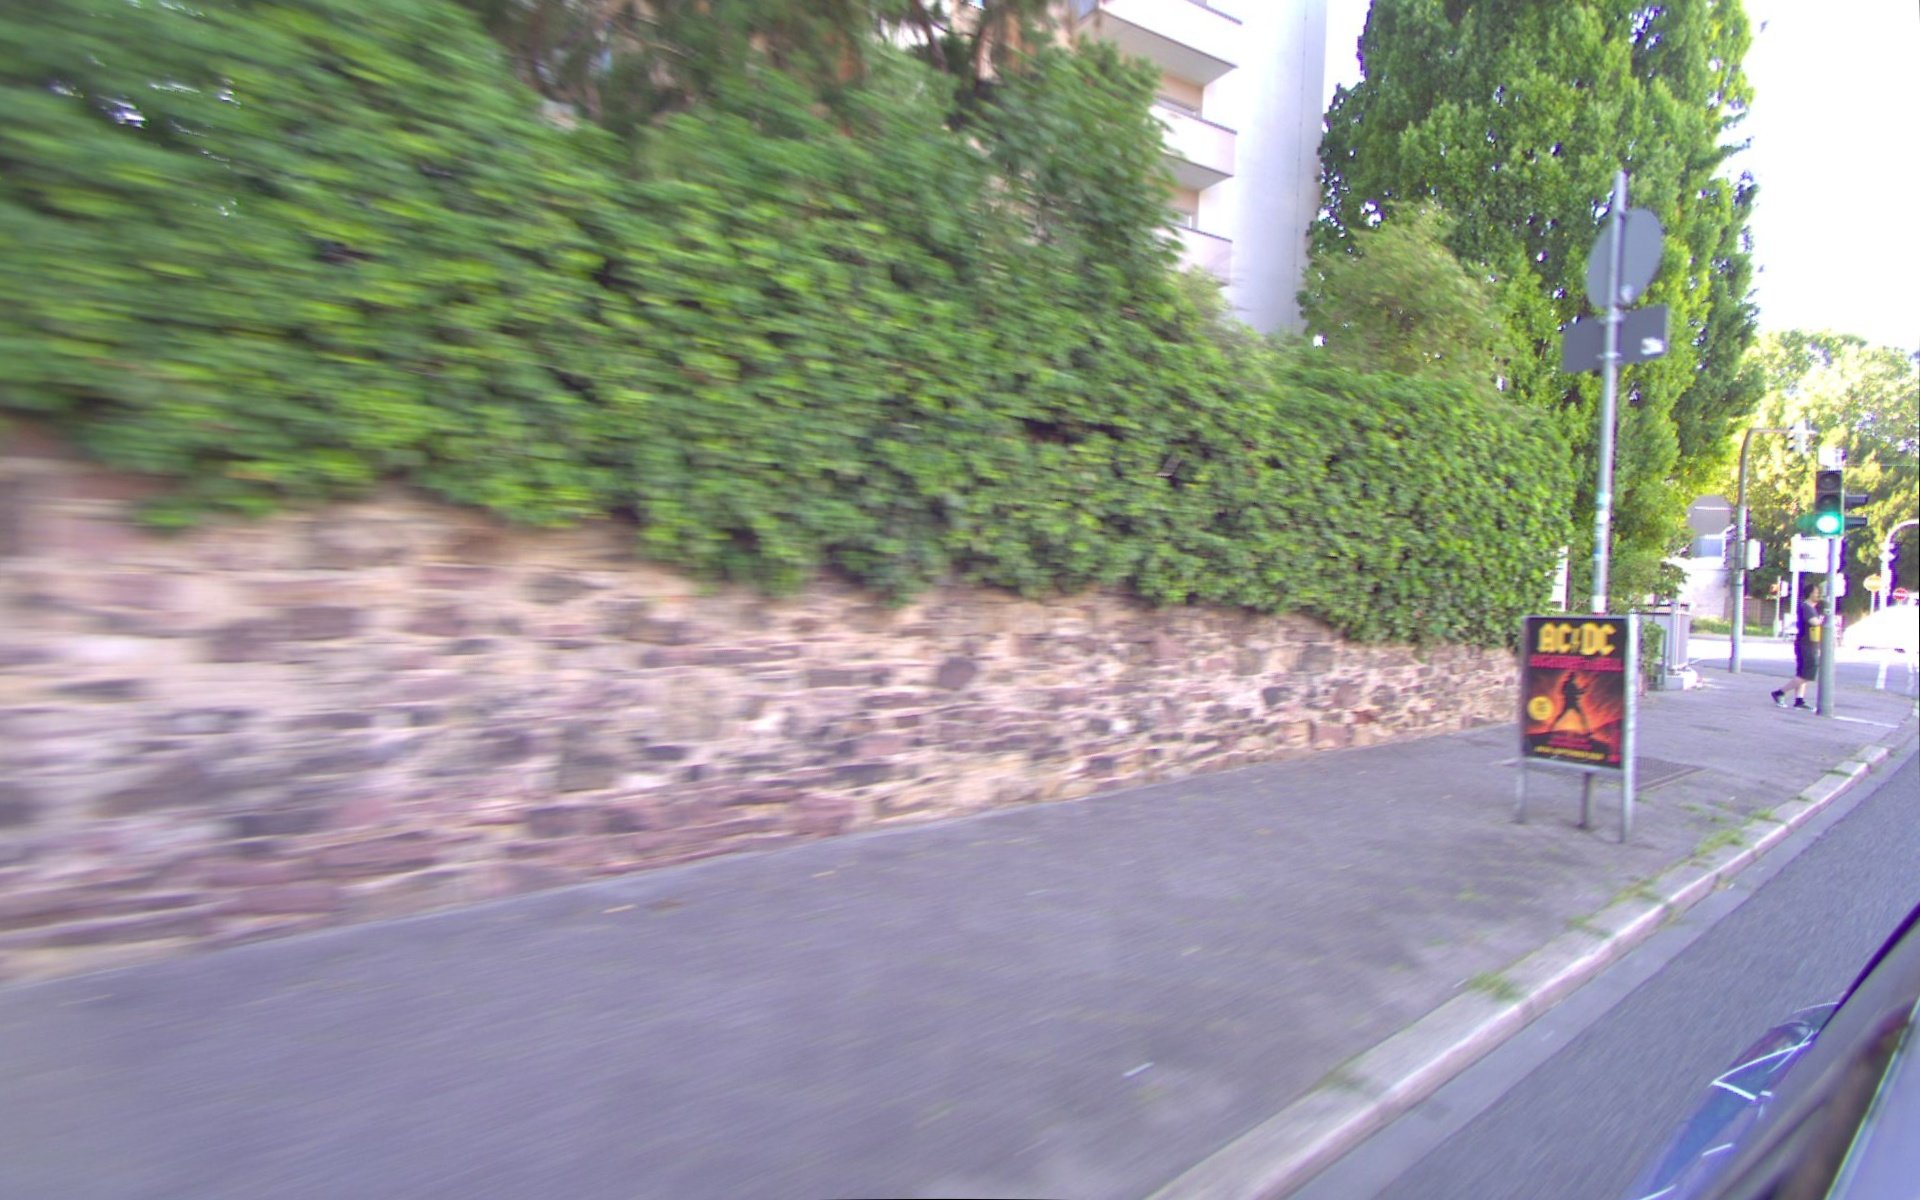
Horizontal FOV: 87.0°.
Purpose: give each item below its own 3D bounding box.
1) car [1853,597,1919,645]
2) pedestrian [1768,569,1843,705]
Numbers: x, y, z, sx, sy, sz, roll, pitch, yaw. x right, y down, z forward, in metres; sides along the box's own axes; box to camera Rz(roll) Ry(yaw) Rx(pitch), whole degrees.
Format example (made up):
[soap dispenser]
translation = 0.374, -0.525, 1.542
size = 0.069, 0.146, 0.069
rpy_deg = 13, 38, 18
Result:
[car]
translation = 32.272, 0.696, 33.760
size = 1.751, 1.562, 3.991
rpy_deg = 1, 0, 8
[pedestrian]
translation = 11.141, 0.470, 13.341
size = 0.601, 1.714, 0.603
rpy_deg = 2, 1, -41
